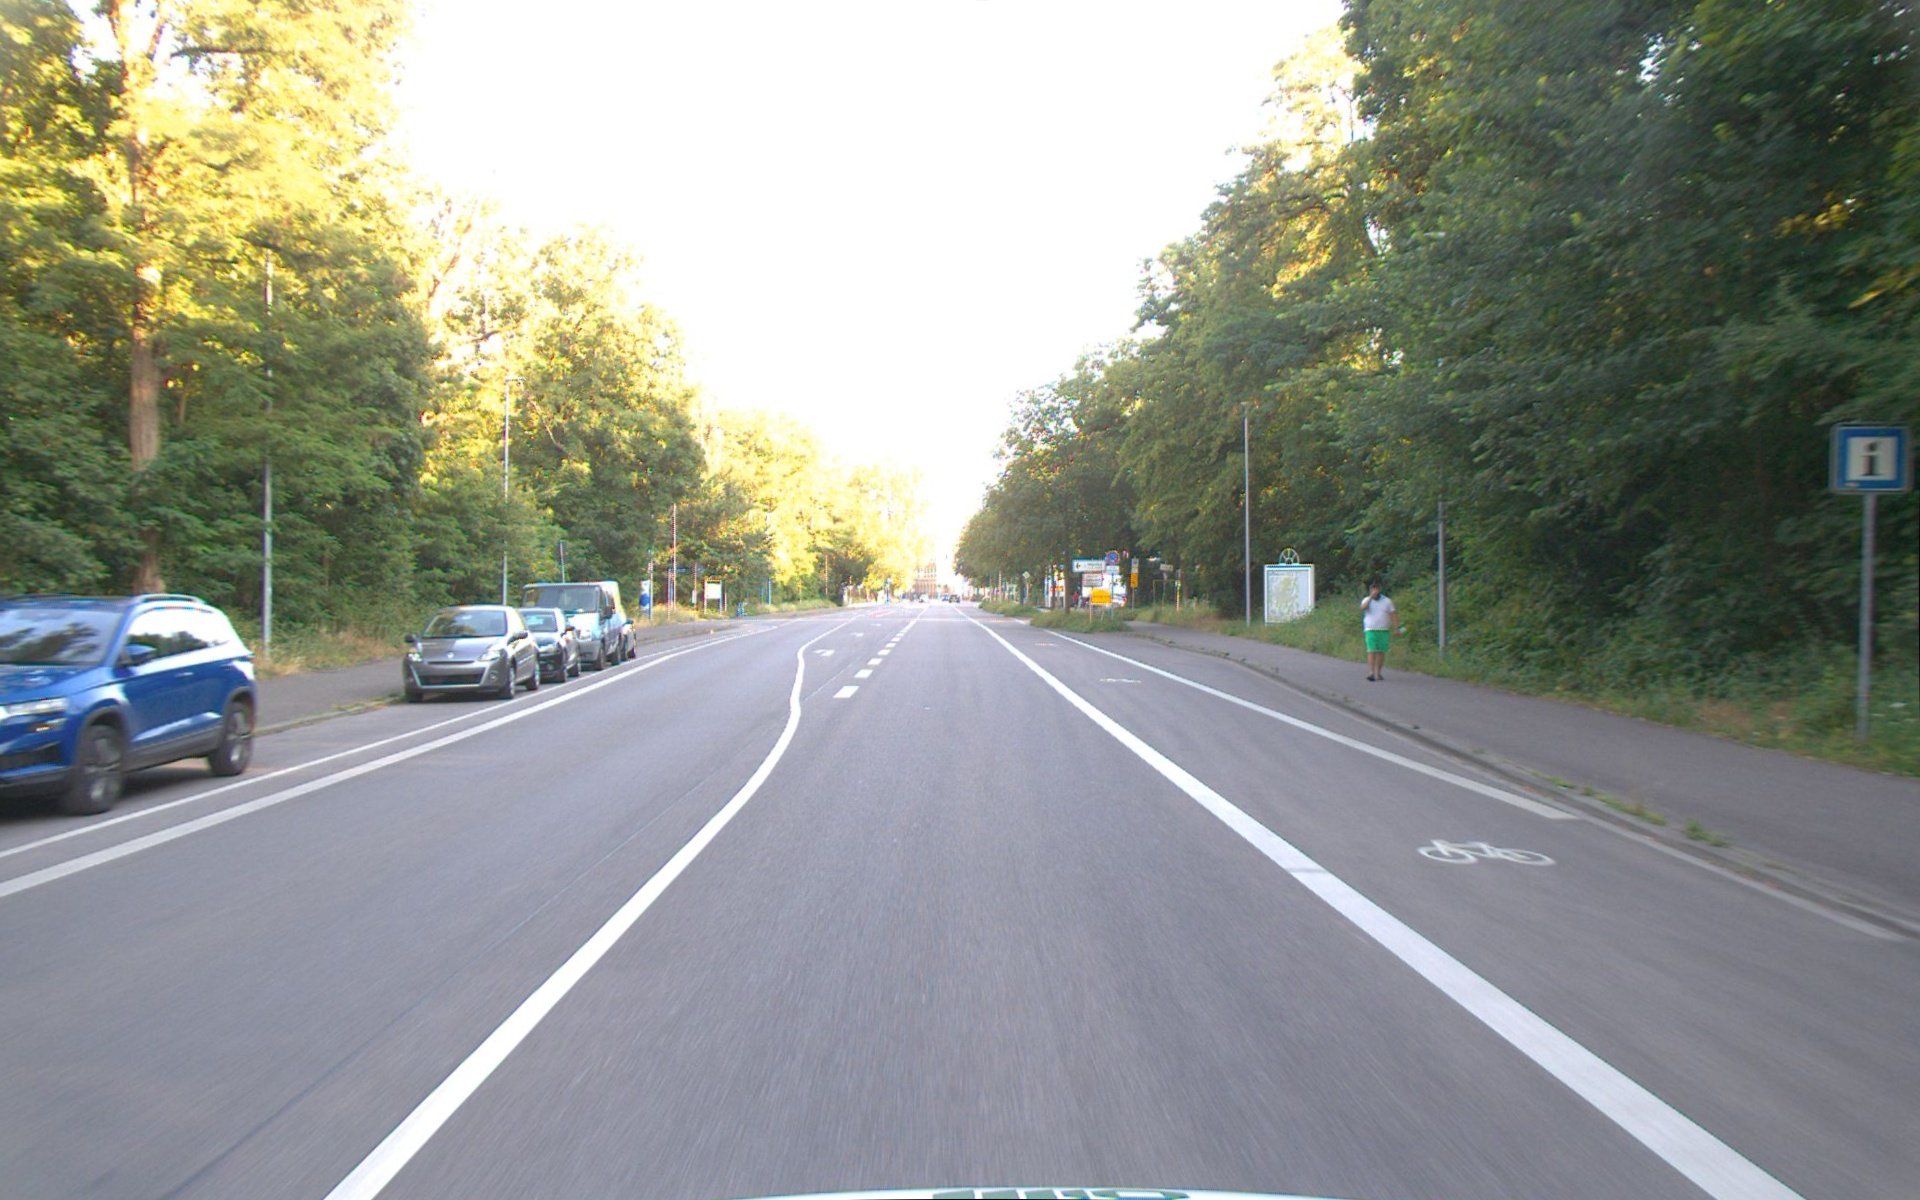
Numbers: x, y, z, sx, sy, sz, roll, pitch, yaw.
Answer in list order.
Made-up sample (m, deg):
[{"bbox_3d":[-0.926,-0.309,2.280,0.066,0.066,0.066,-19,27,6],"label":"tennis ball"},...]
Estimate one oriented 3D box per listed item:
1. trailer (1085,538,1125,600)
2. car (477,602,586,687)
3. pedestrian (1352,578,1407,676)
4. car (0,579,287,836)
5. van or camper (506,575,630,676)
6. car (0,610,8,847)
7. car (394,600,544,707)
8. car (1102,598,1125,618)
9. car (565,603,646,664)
[{"bbox_3d":[13.328,-2.793,152.715,2.958,5.557,7.934,0,0,0],"label":"trailer"},{"bbox_3d":[-8.381,0.828,32.606,1.513,1.519,3.966,-2,0,-7],"label":"car"},{"bbox_3d":[7.694,0.493,30.355,0.821,1.782,0.726,0,0,0],"label":"pedestrian"},{"bbox_3d":[-7.214,0.749,13.518,1.710,1.742,4.520,-2,0,-3],"label":"car"},{"bbox_3d":[-9.023,0.543,38.514,1.992,2.130,5.009,-2,0,-4],"label":"van or camper"},{"bbox_3d":[-6.942,0.864,8.601,1.635,1.527,4.244,-2,0,-3],"label":"car"},{"bbox_3d":[-7.966,0.810,27.164,1.585,1.561,4.035,-2,0,-6],"label":"car"},{"bbox_3d":[12.954,0.677,139.987,1.733,1.611,4.821,1,0,3],"label":"car"},{"bbox_3d":[-9.483,0.863,44.493,1.654,1.487,4.238,-2,0,-6],"label":"car"}]
